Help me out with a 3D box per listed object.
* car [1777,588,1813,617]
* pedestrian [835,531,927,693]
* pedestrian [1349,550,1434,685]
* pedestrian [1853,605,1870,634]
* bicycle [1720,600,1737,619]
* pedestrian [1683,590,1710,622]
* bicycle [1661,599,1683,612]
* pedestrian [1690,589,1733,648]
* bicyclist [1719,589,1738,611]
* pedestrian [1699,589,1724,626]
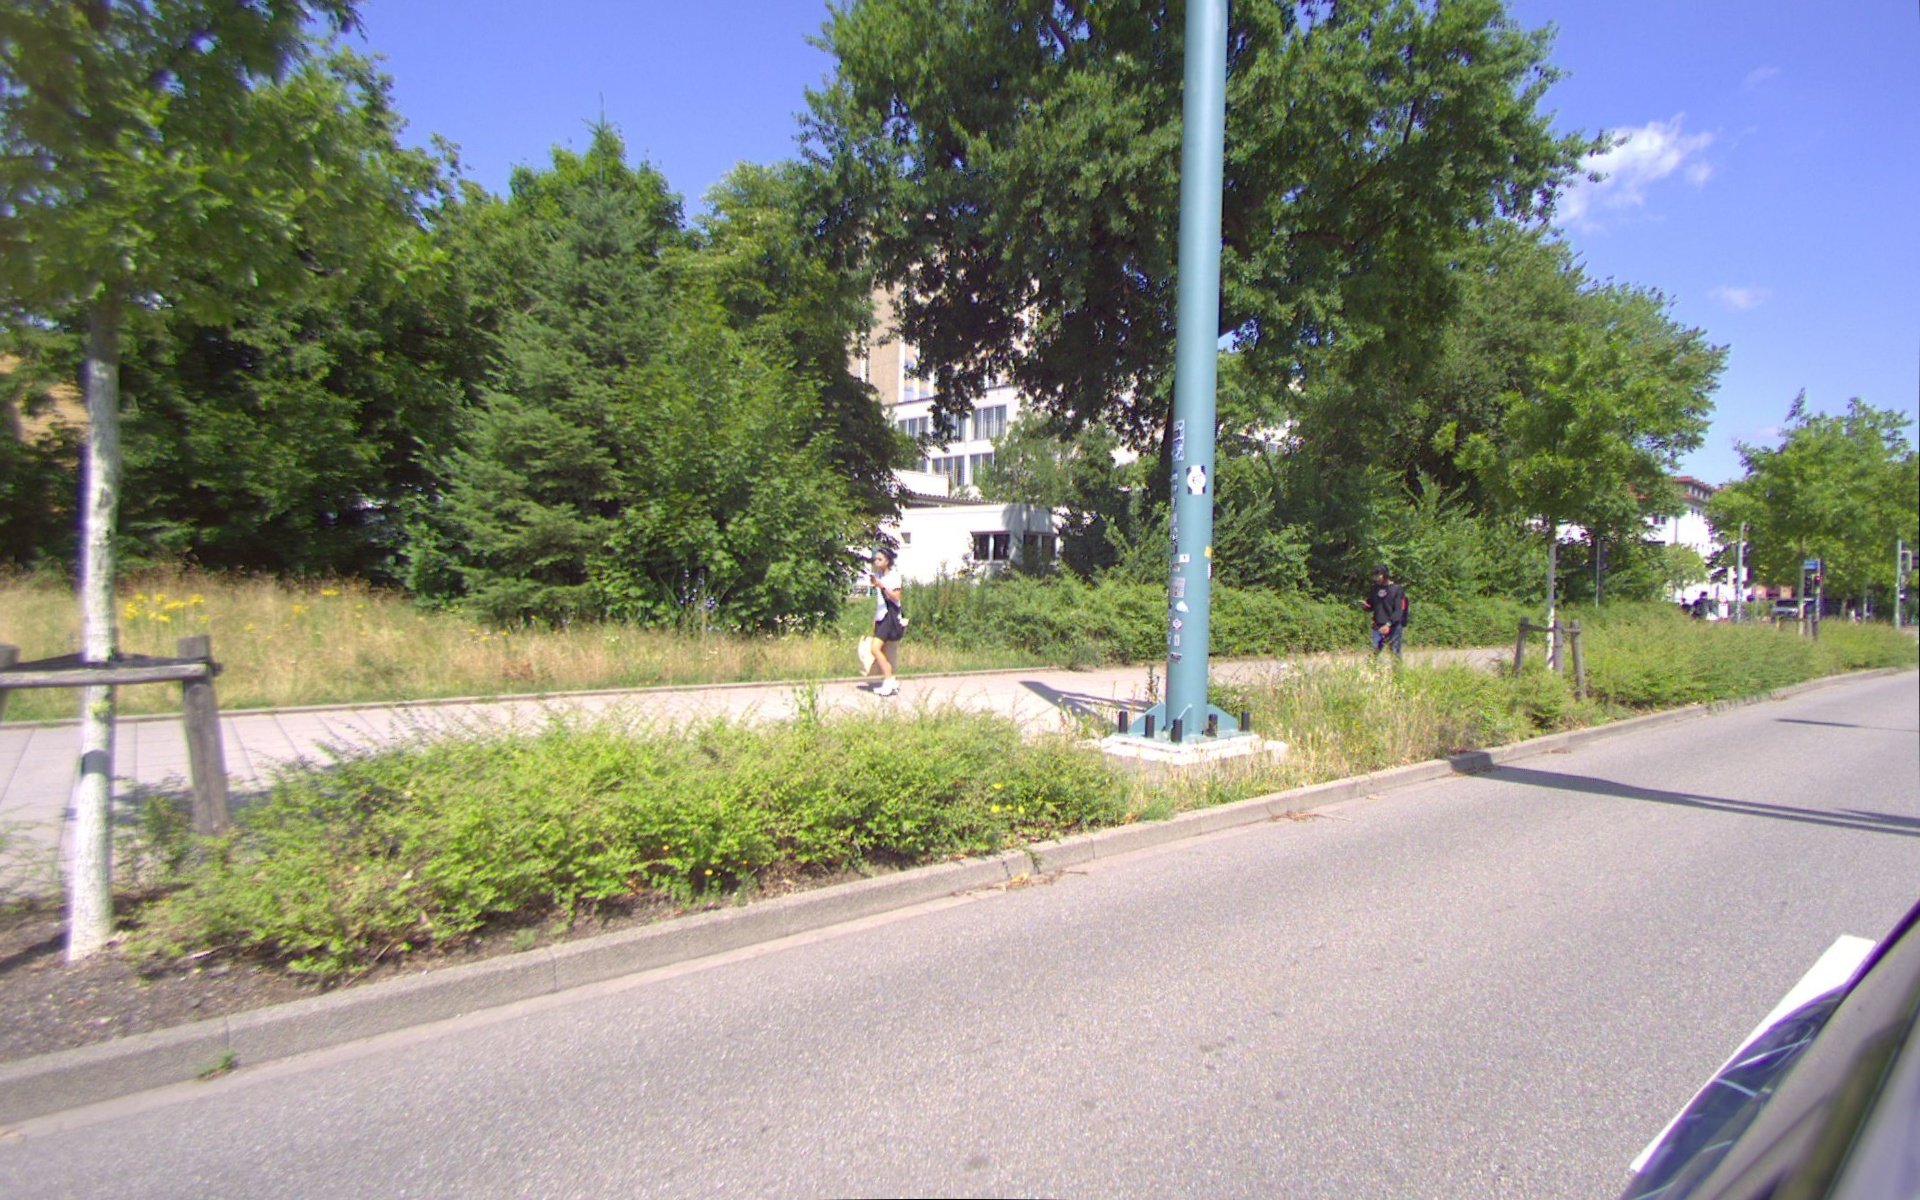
[{"bbox_3d":[63.804,0.180,77.283,1.992,2.080,4.166,2,1,41],"label":"car"},{"bbox_3d":[-0.896,0.123,11.407,0.733,1.743,0.724,1,1,-39],"label":"pedestrian"},{"bbox_3d":[5.780,0.218,13.562,0.822,1.743,0.718,1,1,-39],"label":"pedestrian"},{"bbox_3d":[48.380,1.033,54.286,0.586,1.523,0.412,1,0,31],"label":"pedestrian"},{"bbox_3d":[52.593,0.614,69.294,0.880,1.267,2.137,1,1,36],"label":"bicycle"},{"bbox_3d":[46.528,0.368,63.963,0.952,1.950,1.033,1,1,-30],"label":"pedestrian"},{"bbox_3d":[58.484,0.444,83.106,1.424,0.963,0.346,2,1,44],"label":"bicycle"},{"bbox_3d":[22.594,0.542,30.426,0.913,1.743,0.815,0,1,-39],"label":"pedestrian"},{"bbox_3d":[52.542,0.006,69.196,0.966,1.462,1.063,1,1,37],"label":"bicyclist"},{"bbox_3d":[38.815,0.378,52.292,0.956,1.896,0.876,0,1,-45],"label":"pedestrian"}]
